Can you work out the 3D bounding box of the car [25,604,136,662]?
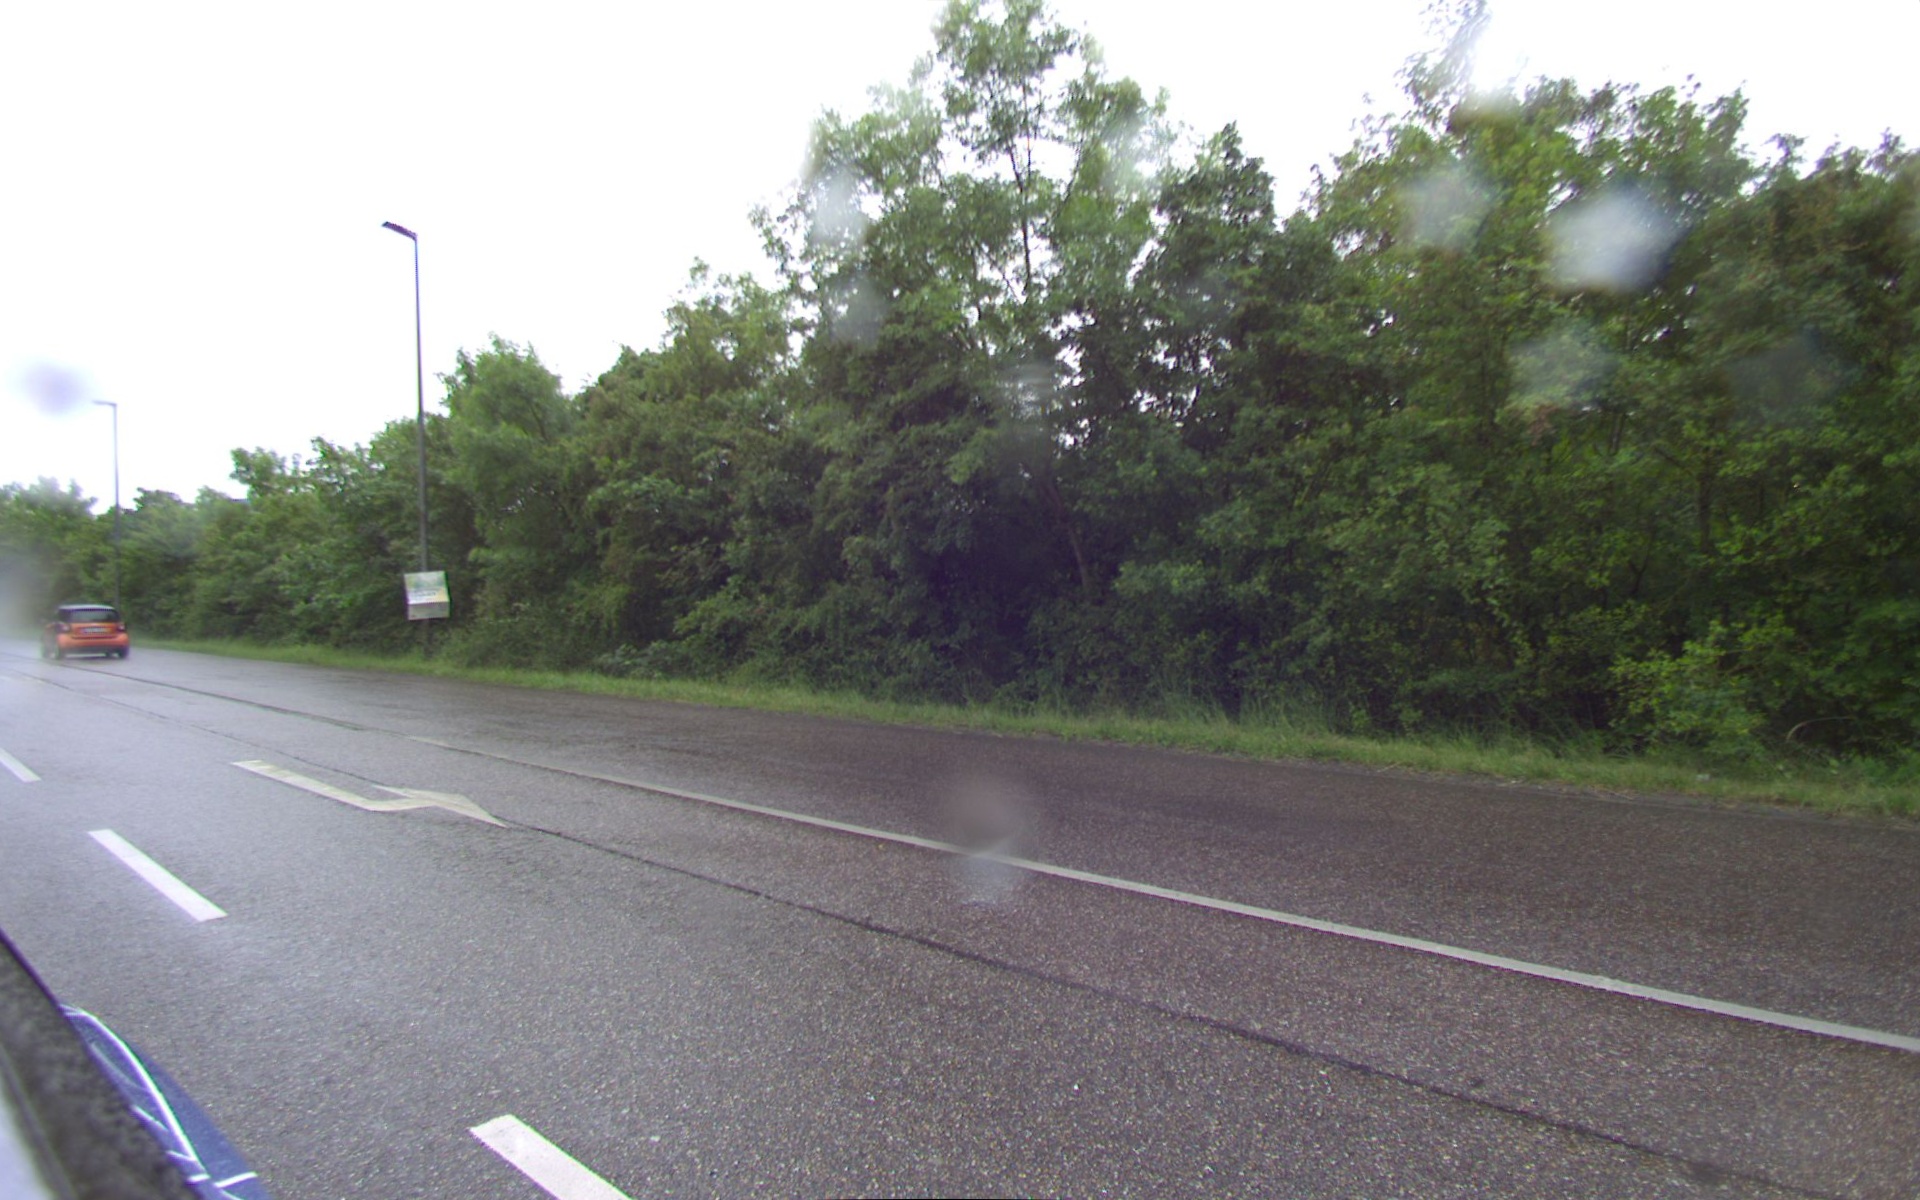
[{"bbox_3d":[-26.155,0.920,30.056,3.998,1.597,1.973,0,0,41],"label":"car"}]
